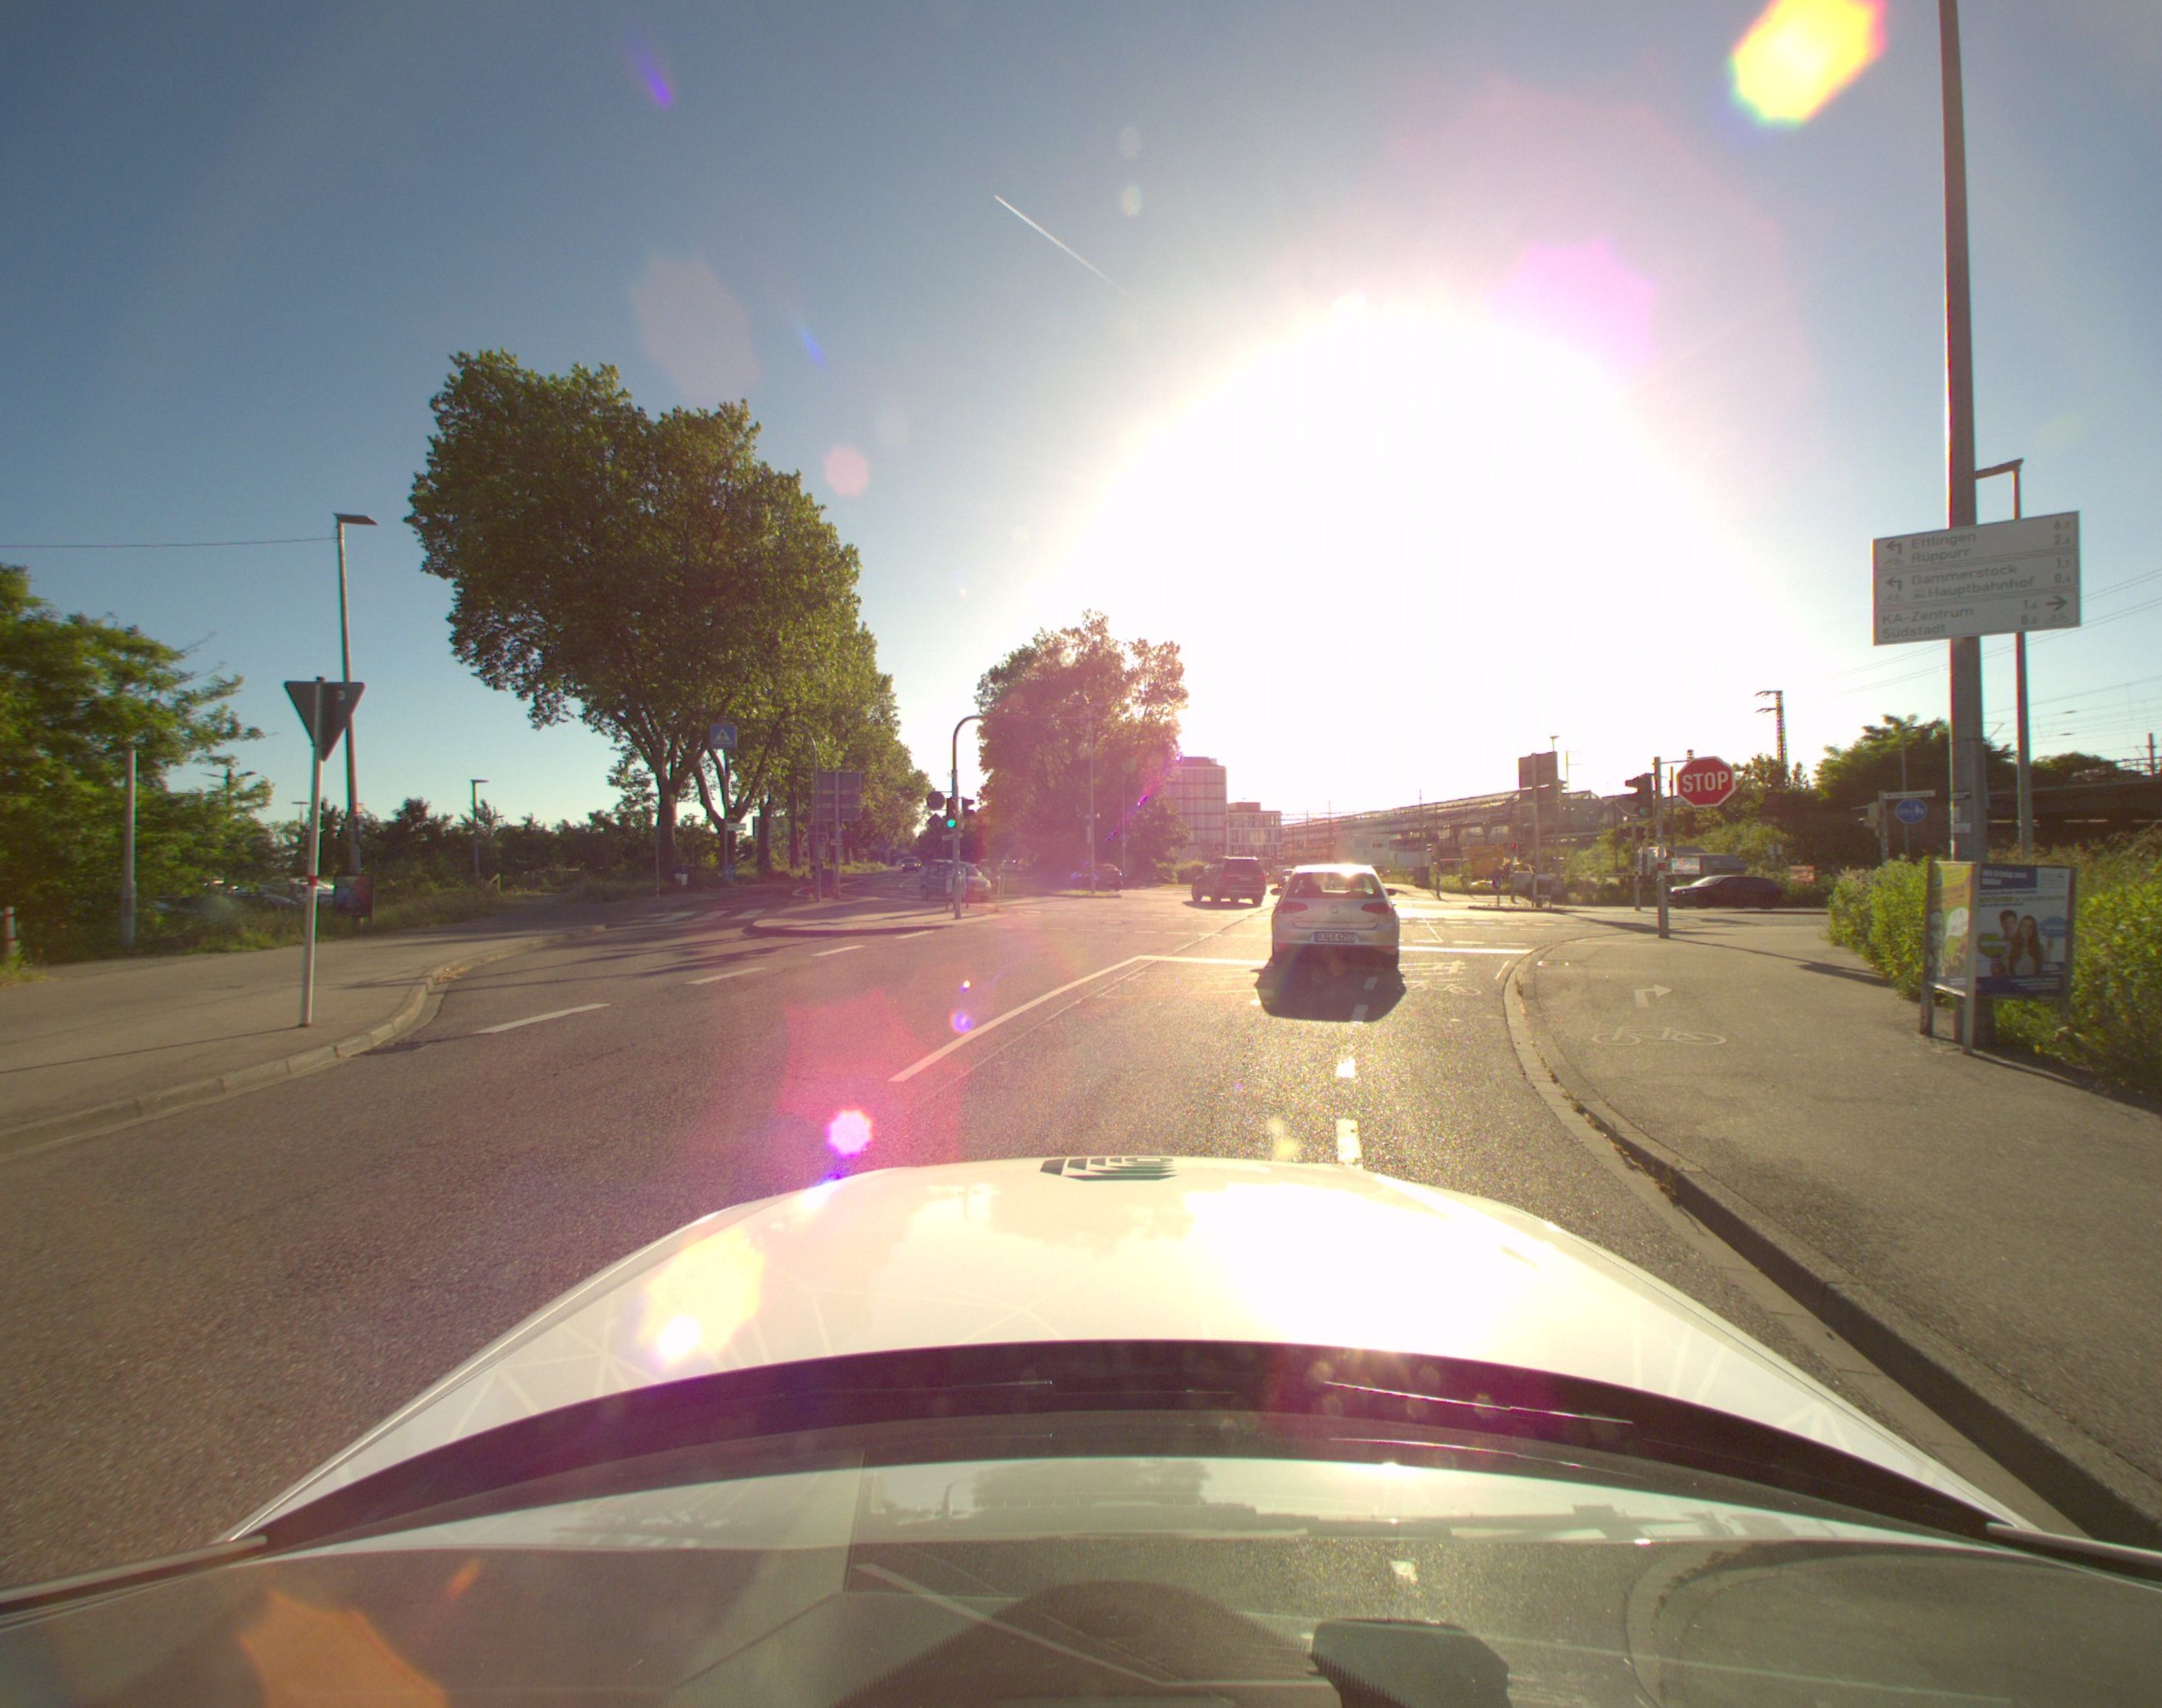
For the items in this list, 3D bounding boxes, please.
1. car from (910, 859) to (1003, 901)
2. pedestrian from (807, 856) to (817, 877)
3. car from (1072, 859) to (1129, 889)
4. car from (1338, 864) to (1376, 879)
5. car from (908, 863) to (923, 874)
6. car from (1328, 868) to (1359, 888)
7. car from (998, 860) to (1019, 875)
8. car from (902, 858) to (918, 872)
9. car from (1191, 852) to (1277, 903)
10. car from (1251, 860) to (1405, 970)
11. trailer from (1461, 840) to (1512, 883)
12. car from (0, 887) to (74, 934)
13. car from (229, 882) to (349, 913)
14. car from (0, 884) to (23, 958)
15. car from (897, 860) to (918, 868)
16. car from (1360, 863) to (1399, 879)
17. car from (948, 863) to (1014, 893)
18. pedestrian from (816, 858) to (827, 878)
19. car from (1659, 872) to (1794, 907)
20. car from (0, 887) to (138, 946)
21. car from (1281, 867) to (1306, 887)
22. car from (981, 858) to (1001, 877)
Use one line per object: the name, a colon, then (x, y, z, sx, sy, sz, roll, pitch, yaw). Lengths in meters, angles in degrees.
car: (-5.270, 1.051, 34.131, 1.931, 1.636, 4.072, 1, -1, -41)
pedestrian: (-21.195, 0.976, 64.205, 0.663, 1.586, 0.629, 0, -1, -8)
car: (1.150, 1.207, 50.336, 1.951, 1.713, 4.166, 0, -1, -25)
car: (33.253, 2.117, 98.119, 3.976, 1.788, 1.654, 1, -1, -2)
car: (-24.818, 2.137, 122.238, 1.852, 1.599, 4.312, 0, -1, -8)
car: (19.871, 1.797, 61.790, 1.737, 1.476, 4.011, 0, -1, 10)
car: (-8.409, 1.540, 94.446, 1.855, 1.650, 4.248, 0, -1, -12)
car: (-21.113, 1.357, 100.766, 1.854, 1.743, 4.250, 0, -1, -11)
car: (5.994, 0.893, 32.509, 2.110, 1.887, 4.802, 0, -1, -6)
car: (3.906, 0.821, 12.745, 1.954, 1.427, 3.955, -1, -1, 19)
trailer: (32.906, 0.634, 66.326, 2.971, 3.292, 6.700, 0, -1, 19)
car: (-45.361, 2.354, 34.046, 4.019, 1.838, 1.736, 0, -1, -5)
car: (-48.547, 2.643, 50.038, 4.948, 1.765, 1.992, 0, -1, -12)
car: (-26.343, 1.538, 17.547, 3.868, 1.665, 1.992, 0, -1, -36)
car: (-36.965, 2.203, 173.263, 4.003, 1.640, 1.985, -1, -1, -22)
car: (34.501, 1.968, 94.272, 3.976, 1.706, 1.614, 1, -1, -2)
car: (-5.038, 1.188, 40.709, 1.914, 1.427, 3.899, 1, -1, -30)
pedestrian: (-20.485, 1.103, 64.346, 0.728, 1.592, 0.802, 0, -1, -8)
car: (28.511, 1.554, 36.088, 4.355, 1.518, 1.957, 0, -2, 2)
car: (-28.782, 1.686, 21.950, 4.012, 1.459, 1.713, 0, -1, -31)
car: (16.404, 1.742, 62.976, 1.736, 1.476, 4.013, 0, -1, 12)
car: (-8.601, 1.301, 78.078, 1.851, 1.743, 4.256, 0, -1, -6)
